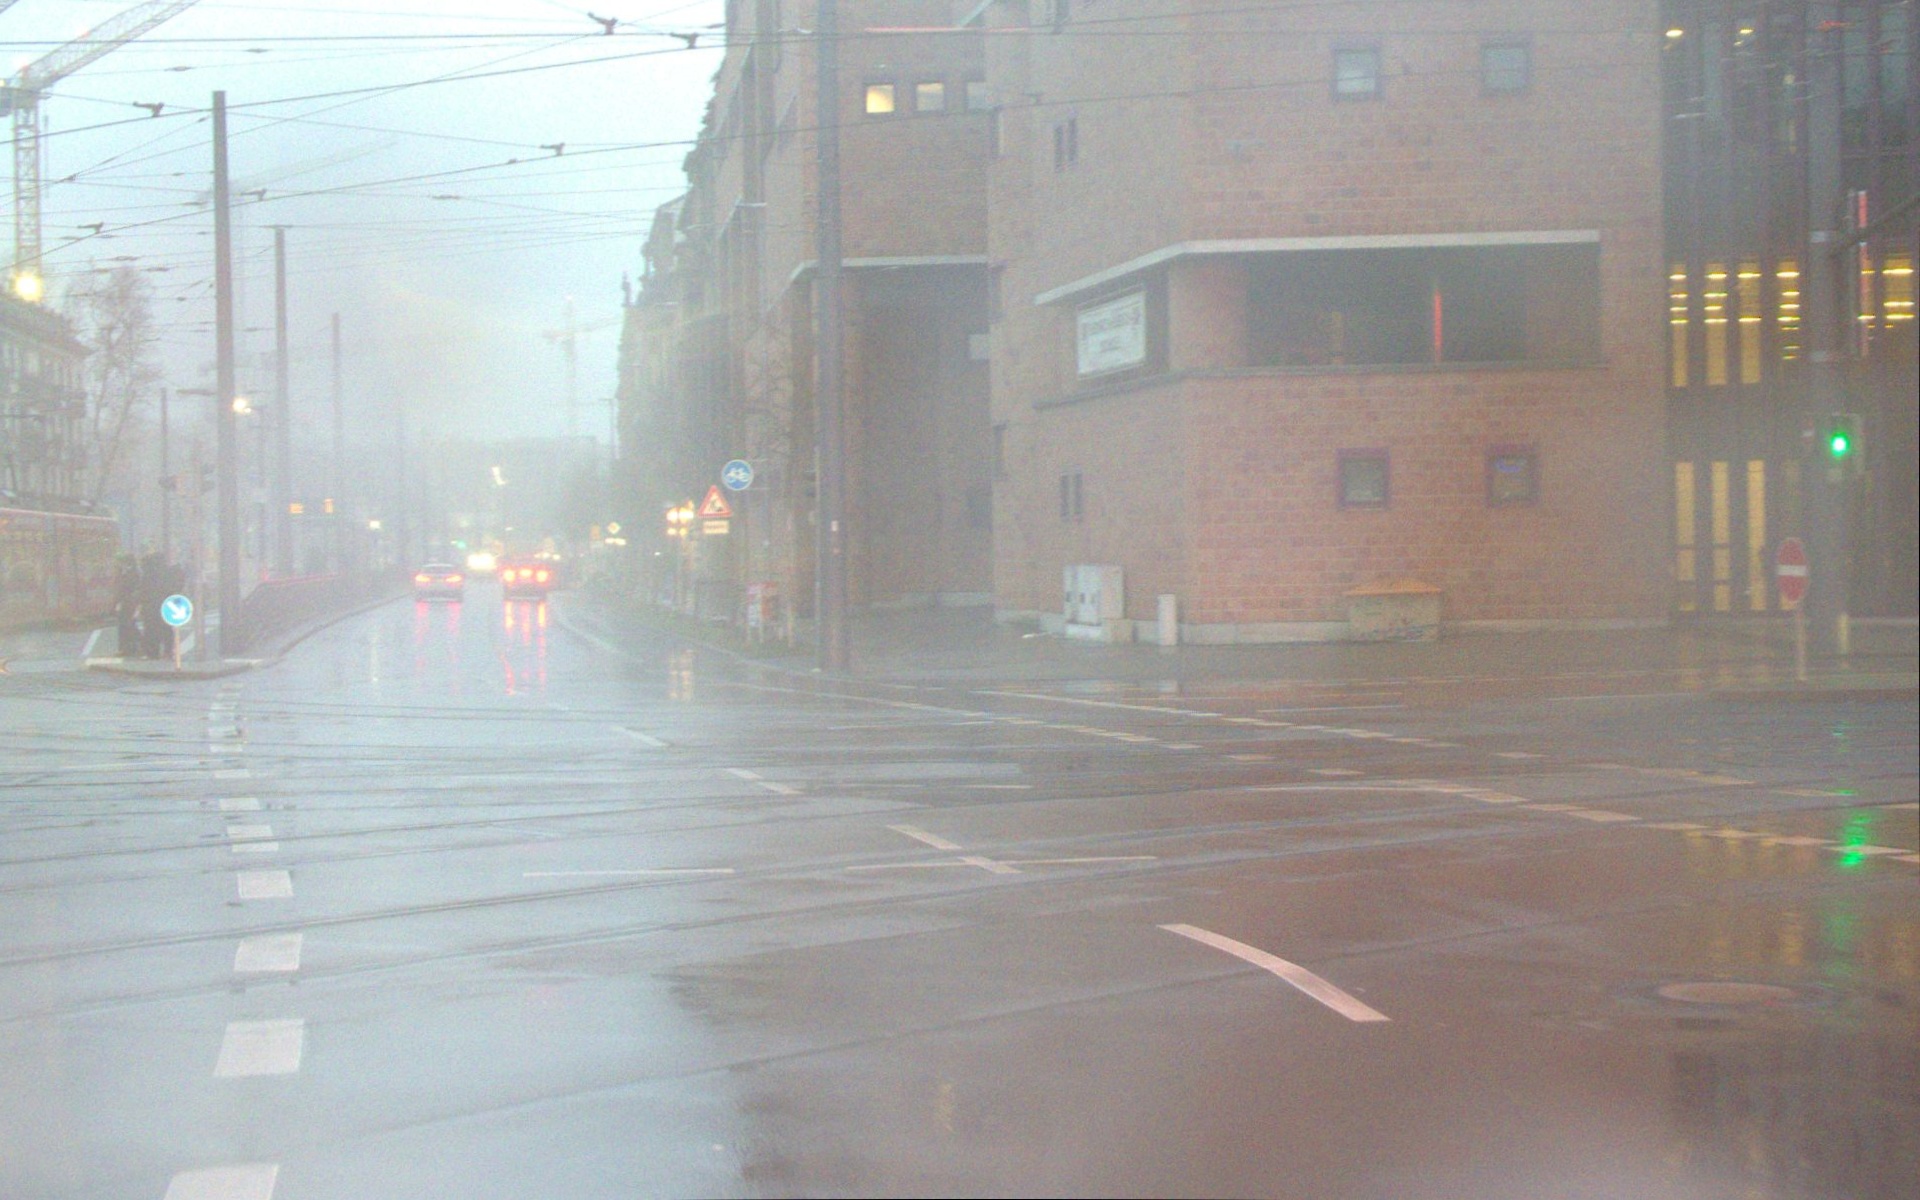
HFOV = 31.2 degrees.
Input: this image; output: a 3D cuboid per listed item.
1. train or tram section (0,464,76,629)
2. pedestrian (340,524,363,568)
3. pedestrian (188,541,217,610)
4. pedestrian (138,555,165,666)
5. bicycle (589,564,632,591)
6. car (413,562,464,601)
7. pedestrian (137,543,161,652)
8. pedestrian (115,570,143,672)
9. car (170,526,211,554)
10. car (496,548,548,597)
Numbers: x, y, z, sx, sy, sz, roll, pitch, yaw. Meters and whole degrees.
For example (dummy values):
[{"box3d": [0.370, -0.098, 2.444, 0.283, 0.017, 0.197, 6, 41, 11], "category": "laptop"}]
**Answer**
[{"box3d": [-22.922, -1.255, 79.954, 2.949, 3.577, 12.258, 1, 1, -7], "category": "train or tram section"}, {"box3d": [-21.061, -1.879, 118.971, 0.679, 1.511, 0.619, 0, 1, -19], "category": "pedestrian"}, {"box3d": [-17.583, -0.570, 79.778, 0.618, 1.584, 0.622, -1, 1, -10], "category": "pedestrian"}, {"box3d": [-13.448, 0.172, 57.193, 0.412, 1.839, 0.670, -1, 1, -12], "category": "pedestrian"}, {"box3d": [-14.552, -0.934, 143.322, 1.729, 1.051, 0.371, -2, 1, -8], "category": "bicycle"}, {"box3d": [-20.395, -0.731, 134.474, 1.784, 1.462, 3.149, -1, 1, -5], "category": "car"}, {"box3d": [-13.337, -0.040, 56.532, 0.359, 1.780, 0.440, -1, 1, -12], "category": "pedestrian"}, {"box3d": [-14.195, 0.362, 58.706, 0.433, 1.729, 0.473, -1, 1, -12], "category": "pedestrian"}, {"box3d": [-37.676, -2.944, 168.370, 1.681, 1.349, 3.547, 0, 0, -8], "category": "car"}, {"box3d": [-18.349, -1.162, 144.119, 1.993, 2.007, 4.001, -1, 1, -5], "category": "car"}]
